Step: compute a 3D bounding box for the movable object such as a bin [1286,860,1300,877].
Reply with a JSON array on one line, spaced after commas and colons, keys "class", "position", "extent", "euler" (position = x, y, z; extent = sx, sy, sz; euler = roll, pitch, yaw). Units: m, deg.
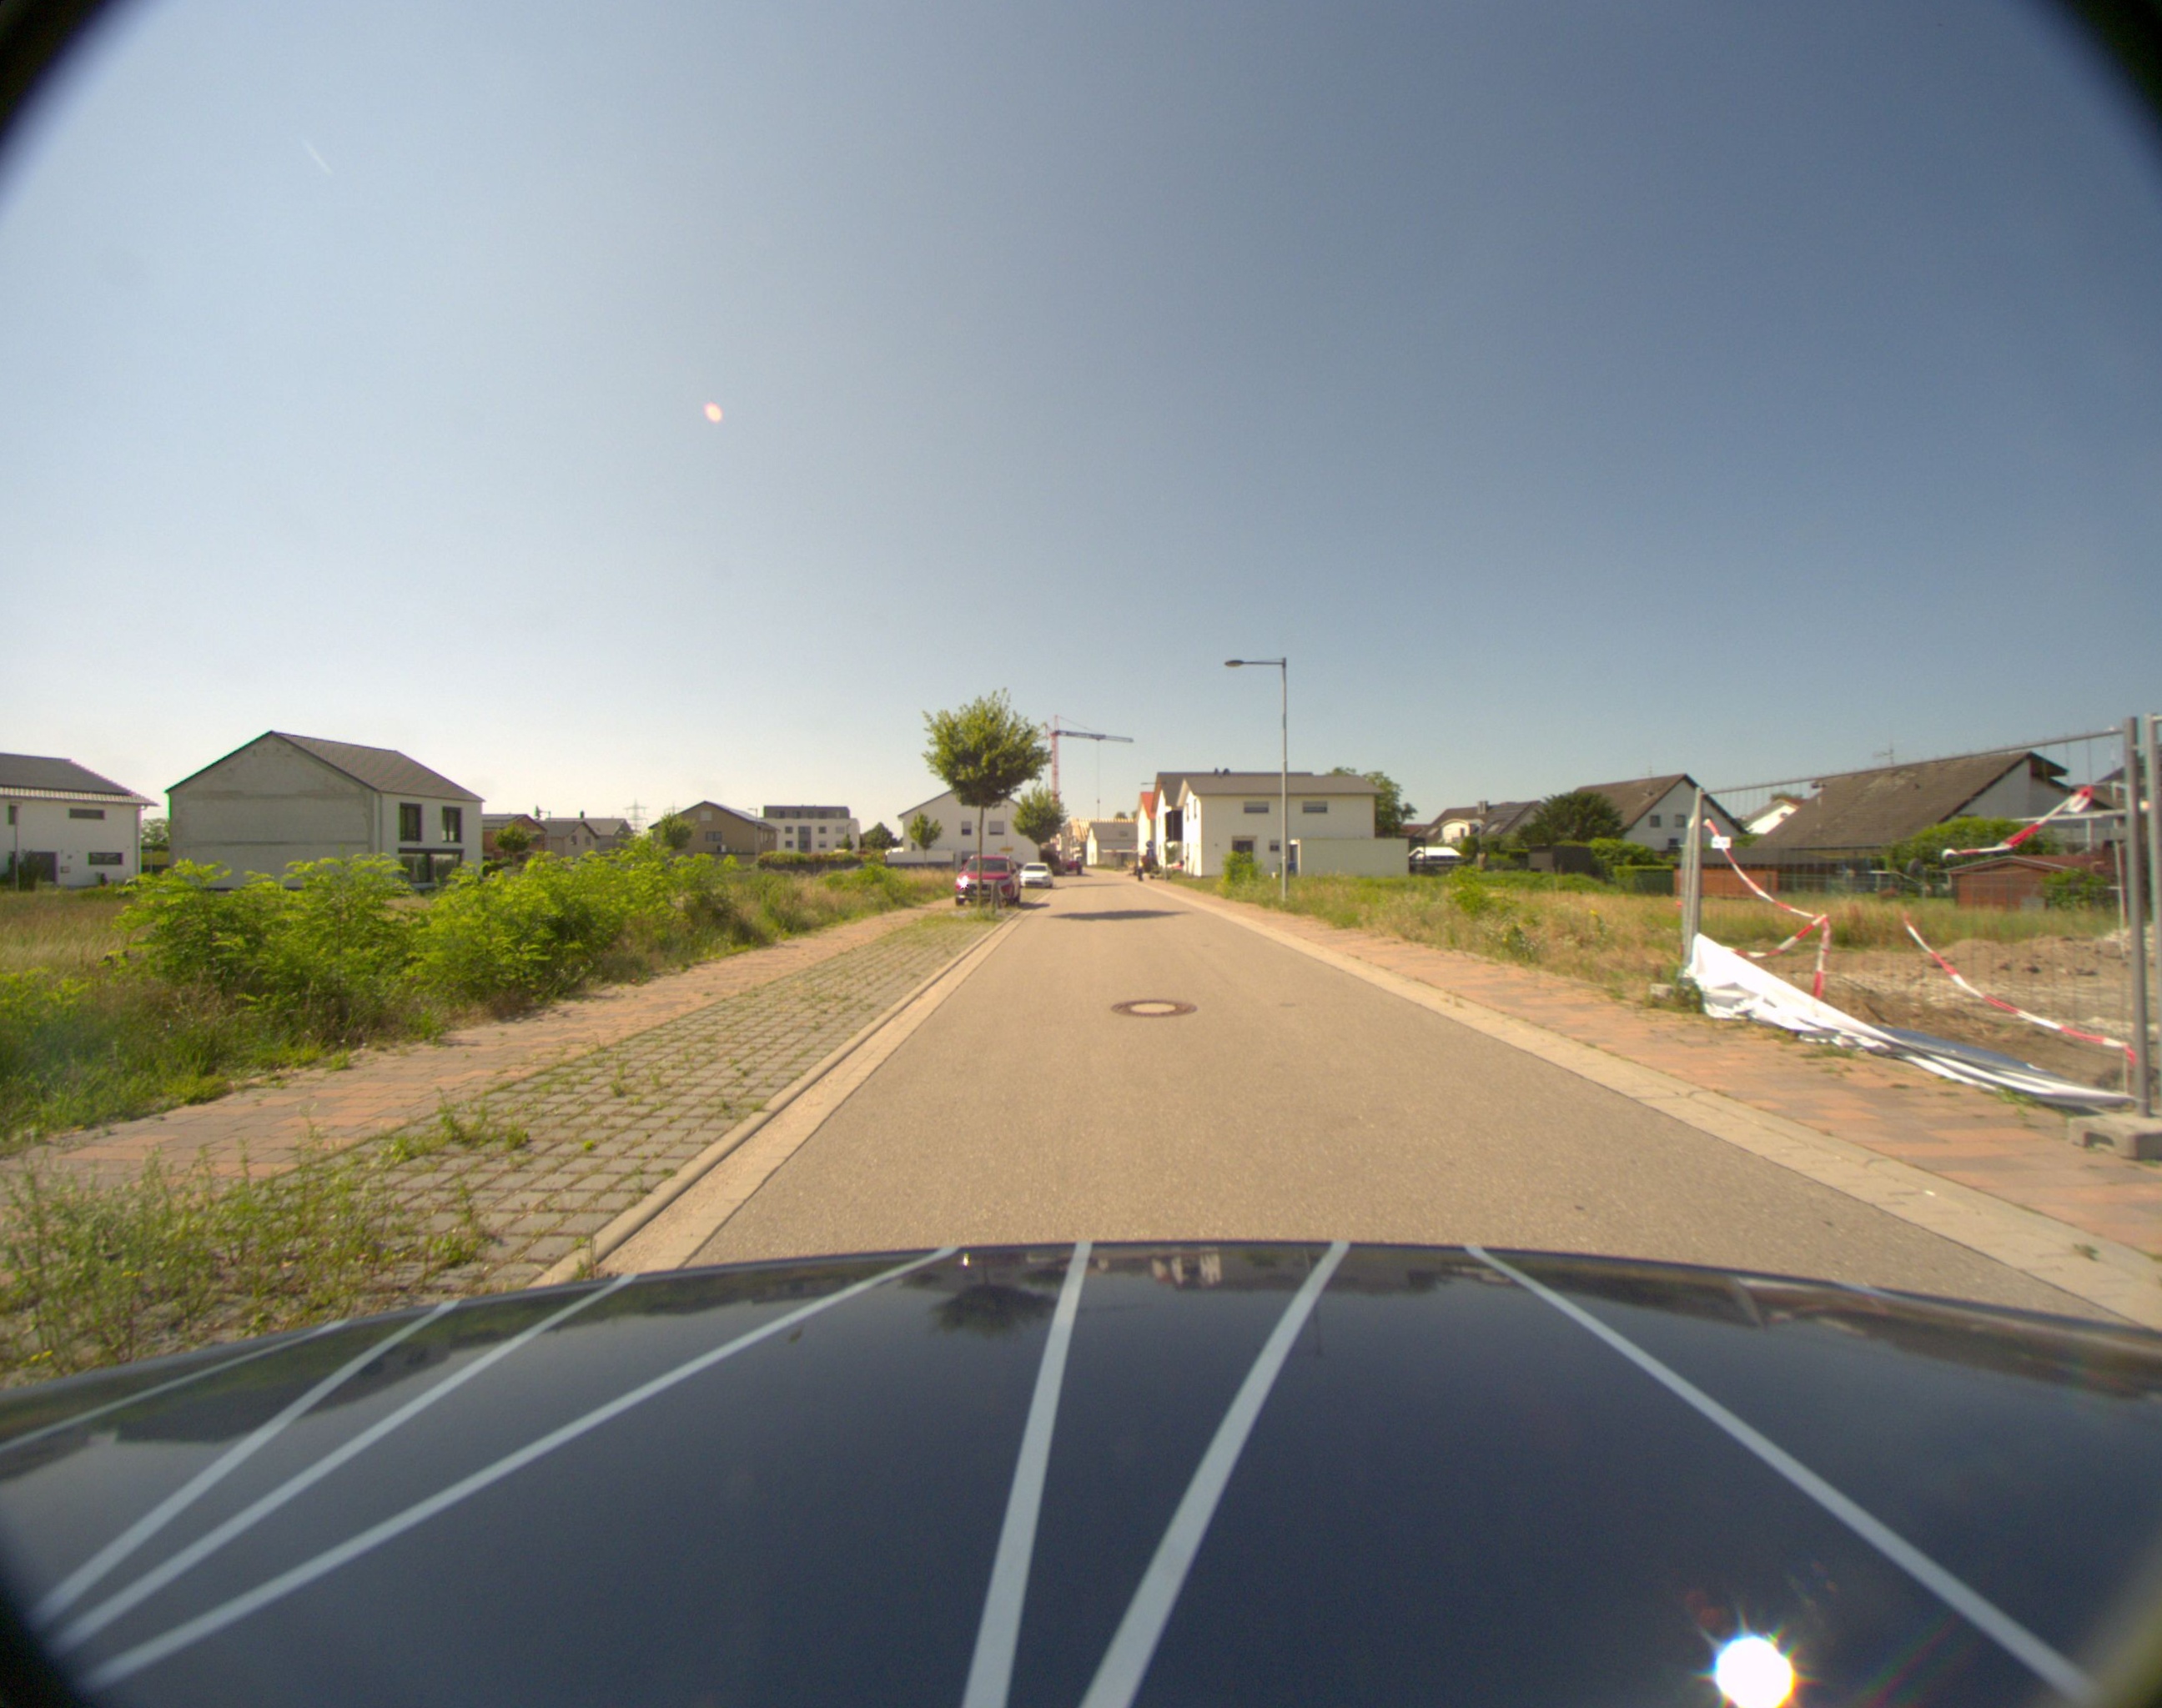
[{"class": "movable object such as a bin", "position": [13.673, 0.948, 49.106], "extent": [0.671, 1.092, 0.808], "euler": [0, 0, 1]}]

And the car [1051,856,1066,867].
[{"class": "car", "position": [-3.444, 1.078, 117.950], "extent": [1.804, 1.609, 3.672], "euler": [-1, 1, -10]}]

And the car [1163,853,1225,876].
[{"class": "car", "position": [9.177, 0.845, 61.996], "extent": [4.749, 1.864, 1.938], "euler": [0, 0, -2]}]

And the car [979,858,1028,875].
[{"class": "car", "position": [-7.182, 1.170, 70.909], "extent": [4.348, 1.549, 1.960], "euler": [-1, -1, -2]}]

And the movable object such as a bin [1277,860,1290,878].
[{"class": "movable object such as a bin", "position": [13.045, 0.955, 48.982], "extent": [0.661, 1.092, 0.785], "euler": [0, 0, 0]}]

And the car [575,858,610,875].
[{"class": "car", "position": [-59.026, 1.527, 91.880], "extent": [2.000, 2.002, 3.997], "euler": [0, 0, -8]}]

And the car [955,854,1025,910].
[{"class": "car", "position": [-2.924, 0.877, 25.189], "extent": [1.781, 1.653, 4.434], "euler": [1, -1, 0]}]

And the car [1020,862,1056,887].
[{"class": "car", "position": [-2.482, 1.189, 44.958], "extent": [1.779, 1.411, 4.166], "euler": [1, -1, 1]}]

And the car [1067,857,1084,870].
[{"class": "car", "position": [-0.711, 1.199, 98.483], "extent": [1.911, 1.470, 3.998], "euler": [-1, 1, -4]}]

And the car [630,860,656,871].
[{"class": "car", "position": [-60.733, 1.612, 105.339], "extent": [1.750, 1.493, 3.997], "euler": [0, 0, -8]}]

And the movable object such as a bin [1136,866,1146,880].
[{"class": "movable object such as a bin", "position": [4.261, 1.346, 53.836], "extent": [0.625, 0.943, 0.500], "euler": [-1, 1, -4]}]

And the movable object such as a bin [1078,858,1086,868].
[{"class": "movable object such as a bin", "position": [0.067, 0.967, 80.395], "extent": [0.823, 1.058, 0.589], "euler": [-1, 1, -4]}]

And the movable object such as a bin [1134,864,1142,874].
[{"class": "movable object such as a bin", "position": [5.301, 1.401, 70.686], "extent": [0.618, 0.931, 0.564], "euler": [-1, 0, -4]}]
